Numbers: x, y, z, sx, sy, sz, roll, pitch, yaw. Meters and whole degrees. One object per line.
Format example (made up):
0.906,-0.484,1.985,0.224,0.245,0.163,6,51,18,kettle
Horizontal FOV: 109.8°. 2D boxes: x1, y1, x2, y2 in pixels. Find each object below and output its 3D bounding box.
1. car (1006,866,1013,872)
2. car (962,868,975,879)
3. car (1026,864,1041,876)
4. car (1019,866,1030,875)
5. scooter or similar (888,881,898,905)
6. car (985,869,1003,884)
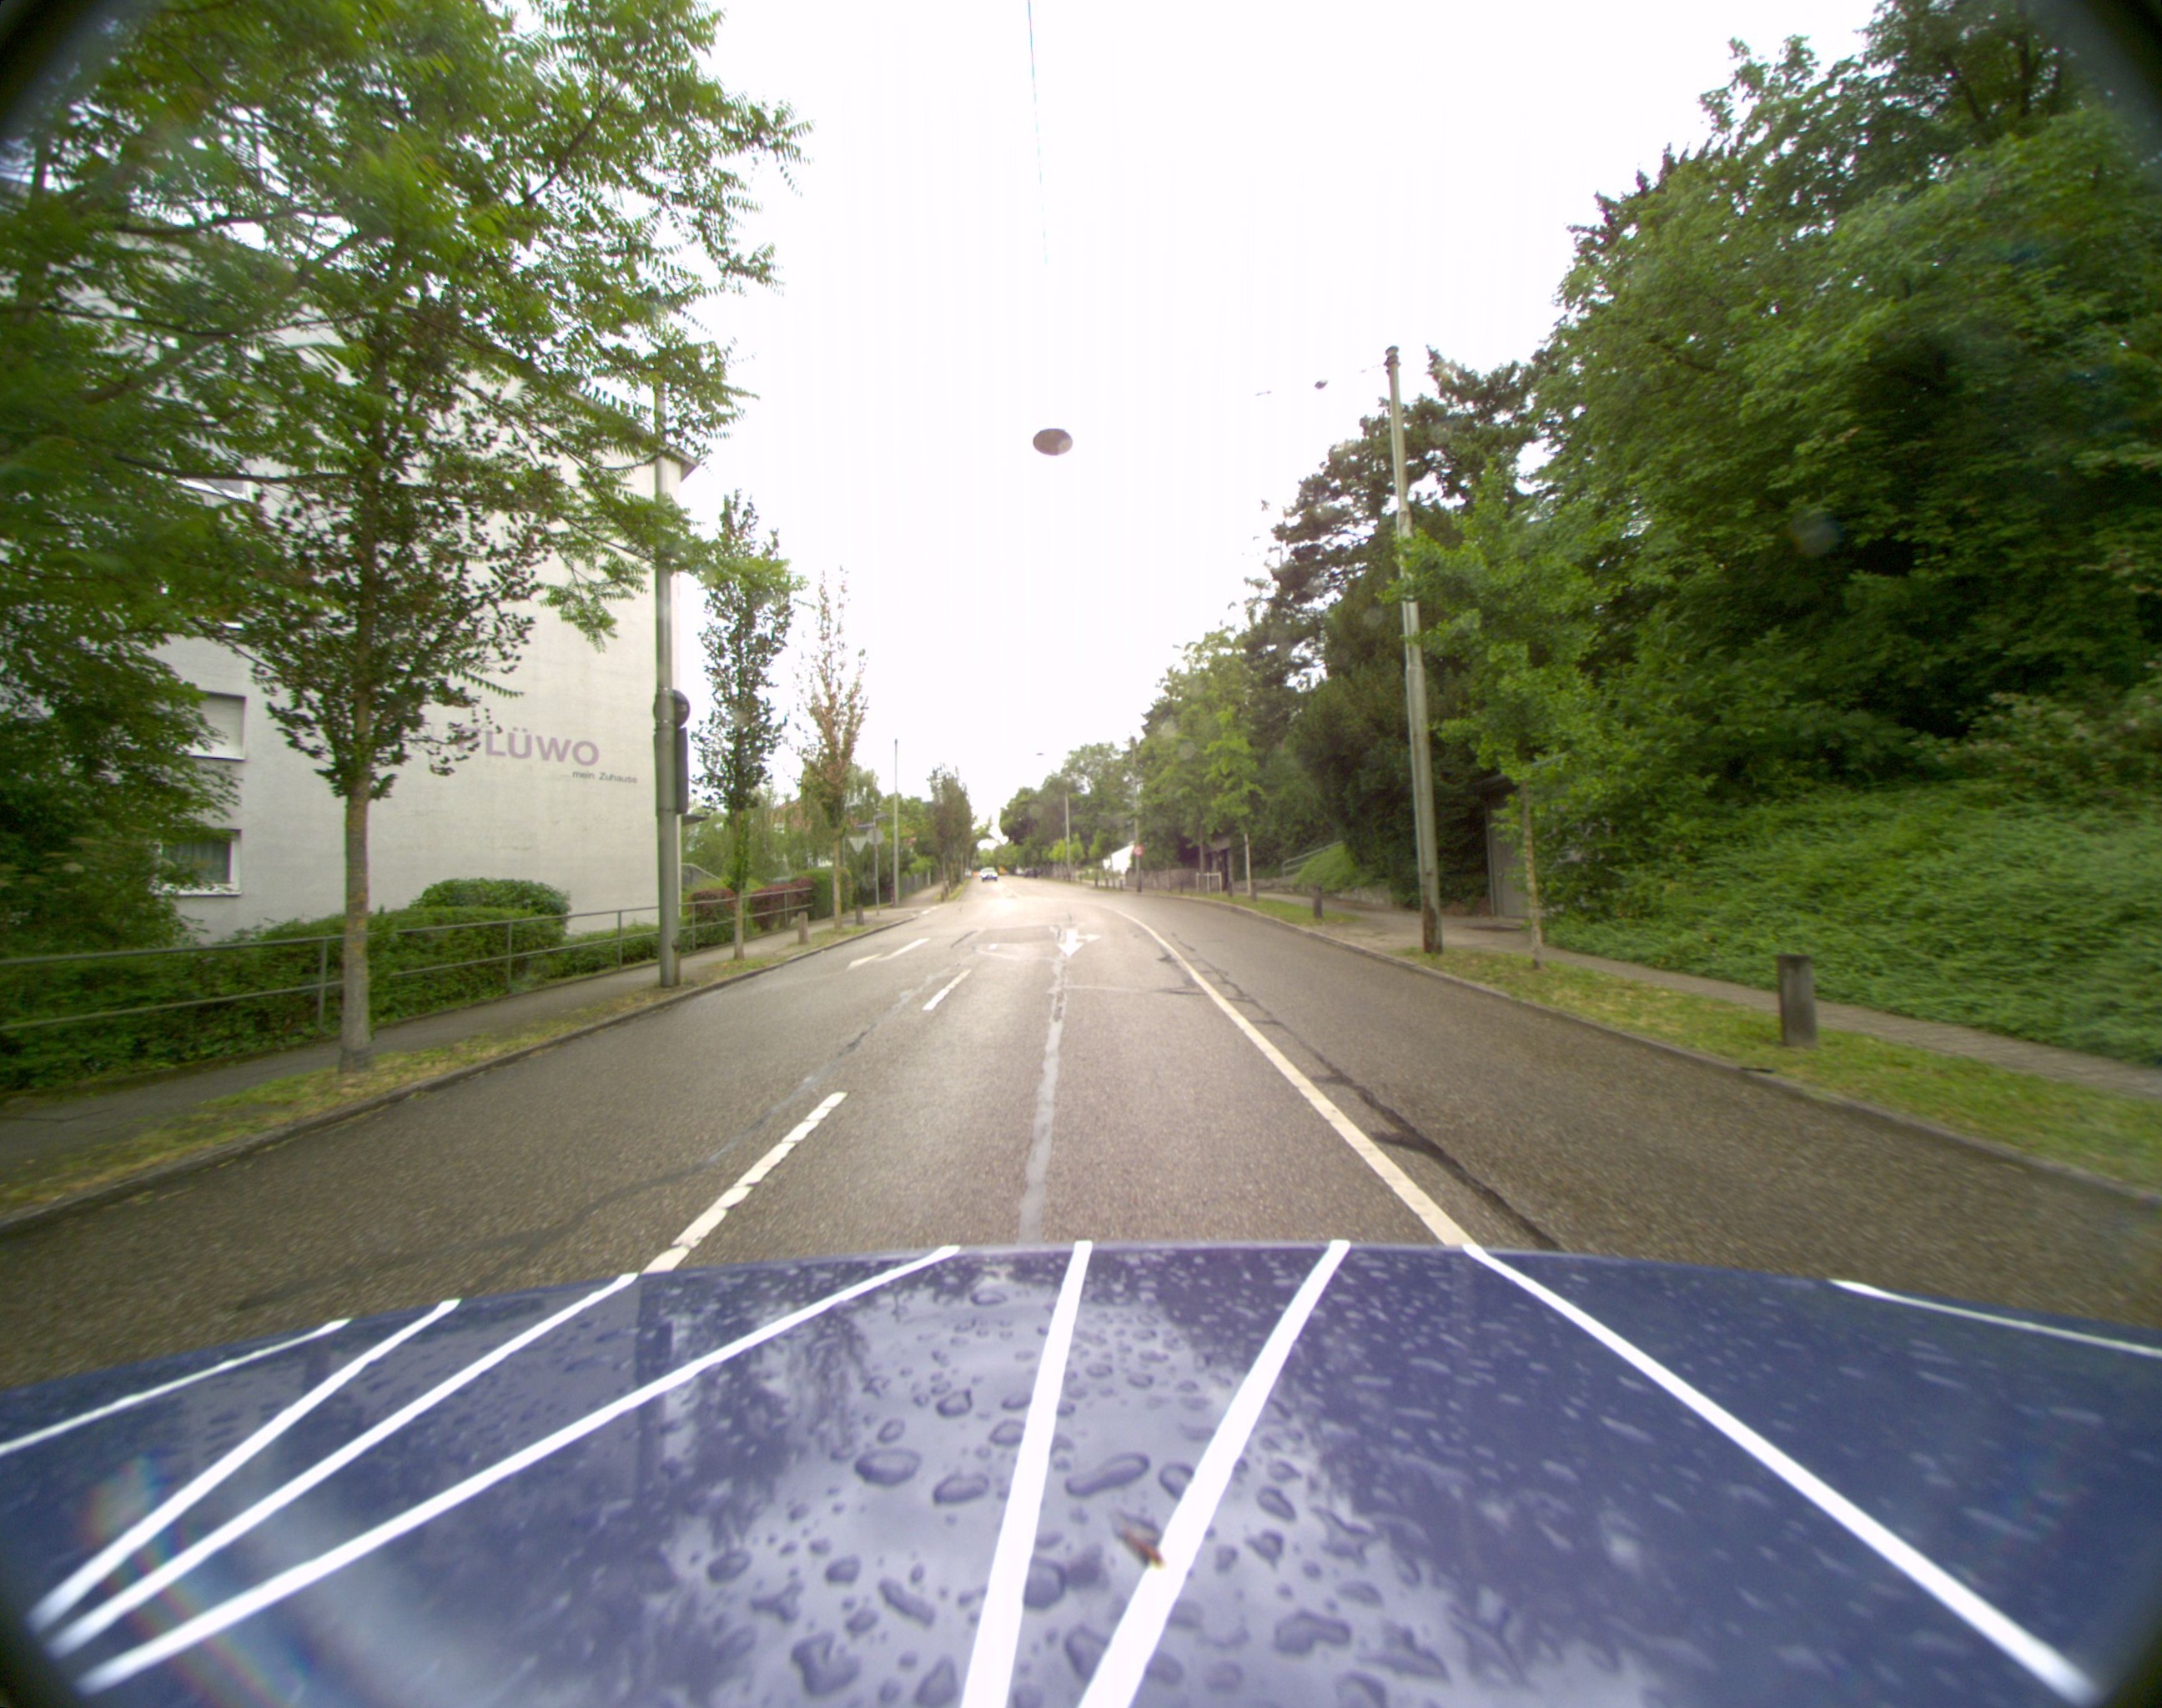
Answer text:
-19.451,4.118,206.300,1.751,1.540,3.915,1,-1,-8,car
-17.709,3.016,119.510,1.830,1.620,3.997,-2,0,-9,car
-6.948,2.275,109.886,1.917,1.575,4.584,1,-1,-7,car
-9.880,2.810,132.134,1.771,1.477,3.799,1,-1,-7,car
-10.671,2.219,43.154,0.344,1.247,1.266,-5,1,-9,scooter or similar
-10.712,2.804,93.822,1.999,1.673,3.999,-5,-1,-5,car
